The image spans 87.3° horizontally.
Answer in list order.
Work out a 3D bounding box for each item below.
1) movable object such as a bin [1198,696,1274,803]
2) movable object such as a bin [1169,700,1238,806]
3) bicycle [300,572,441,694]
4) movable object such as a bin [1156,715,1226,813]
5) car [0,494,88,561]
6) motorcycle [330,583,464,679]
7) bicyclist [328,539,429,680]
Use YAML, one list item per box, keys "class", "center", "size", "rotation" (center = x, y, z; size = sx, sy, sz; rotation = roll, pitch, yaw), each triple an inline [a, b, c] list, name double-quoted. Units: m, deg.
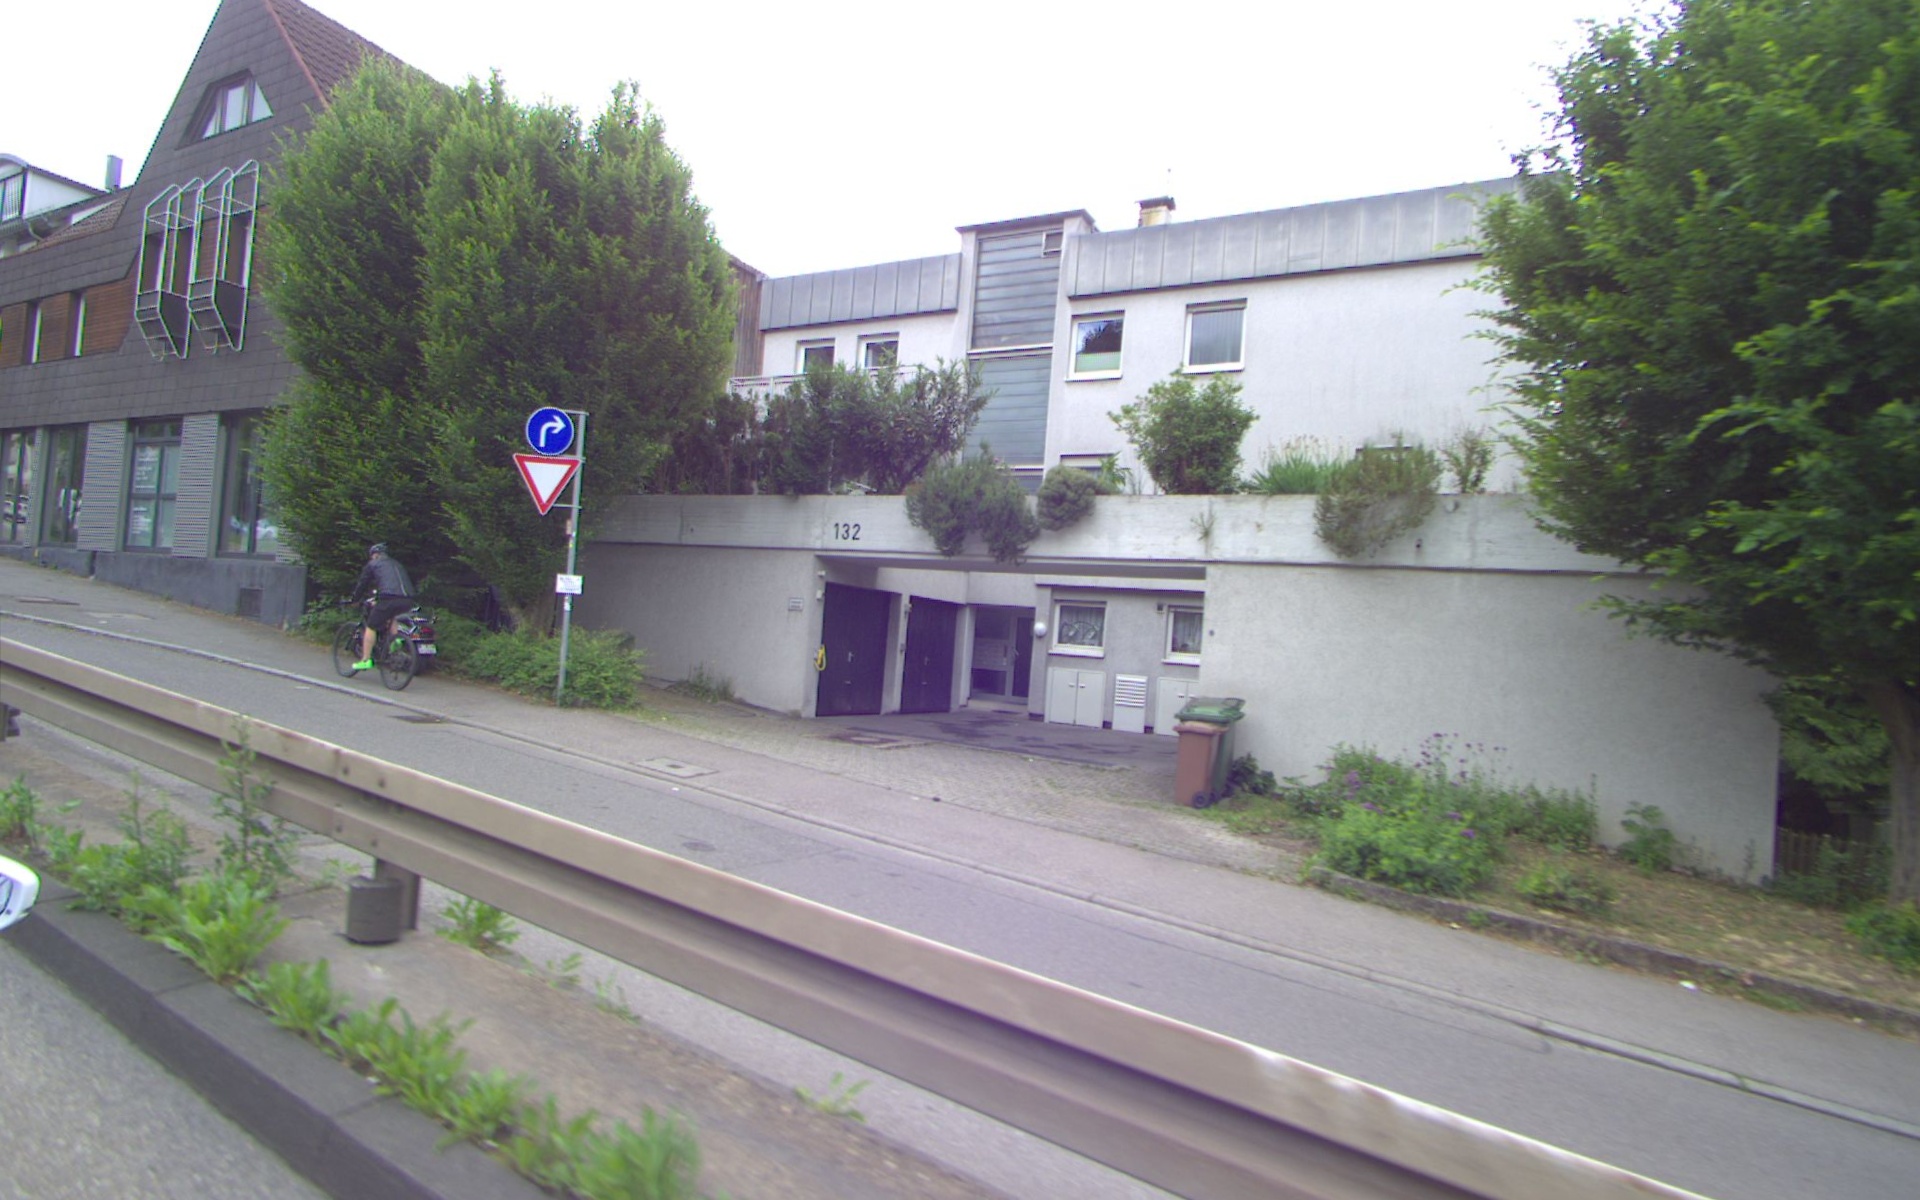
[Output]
- class: "movable object such as a bin"
  center: [3.284, 1.759, 11.970]
  size: [0.644, 1.096, 0.541]
  rotation: [8, 6, 30]
- class: "movable object such as a bin"
  center: [2.838, 1.765, 11.736]
  size: [0.551, 1.070, 0.541]
  rotation: [8, 6, 30]
- class: "bicycle"
  center: [-7.586, 0.397, 12.918]
  size: [2.004, 1.279, 0.571]
  rotation: [8, 3, 30]
- class: "movable object such as a bin"
  center: [2.591, 1.825, 11.280]
  size: [0.551, 0.953, 0.452]
  rotation: [8, 3, 30]
- class: "car"
  center: [-27.566, -2.255, 29.061]
  size: [1.636, 1.477, 3.009]
  rotation: [9, -6, 24]
- class: "motorcycle"
  center: [-7.868, 0.423, 14.031]
  size: [1.934, 1.064, 0.696]
  rotation: [7, 1, 32]
- class: "bicyclist"
  center: [-7.402, 0.124, 12.815]
  size: [0.931, 1.652, 0.539]
  rotation: [8, 0, 30]
